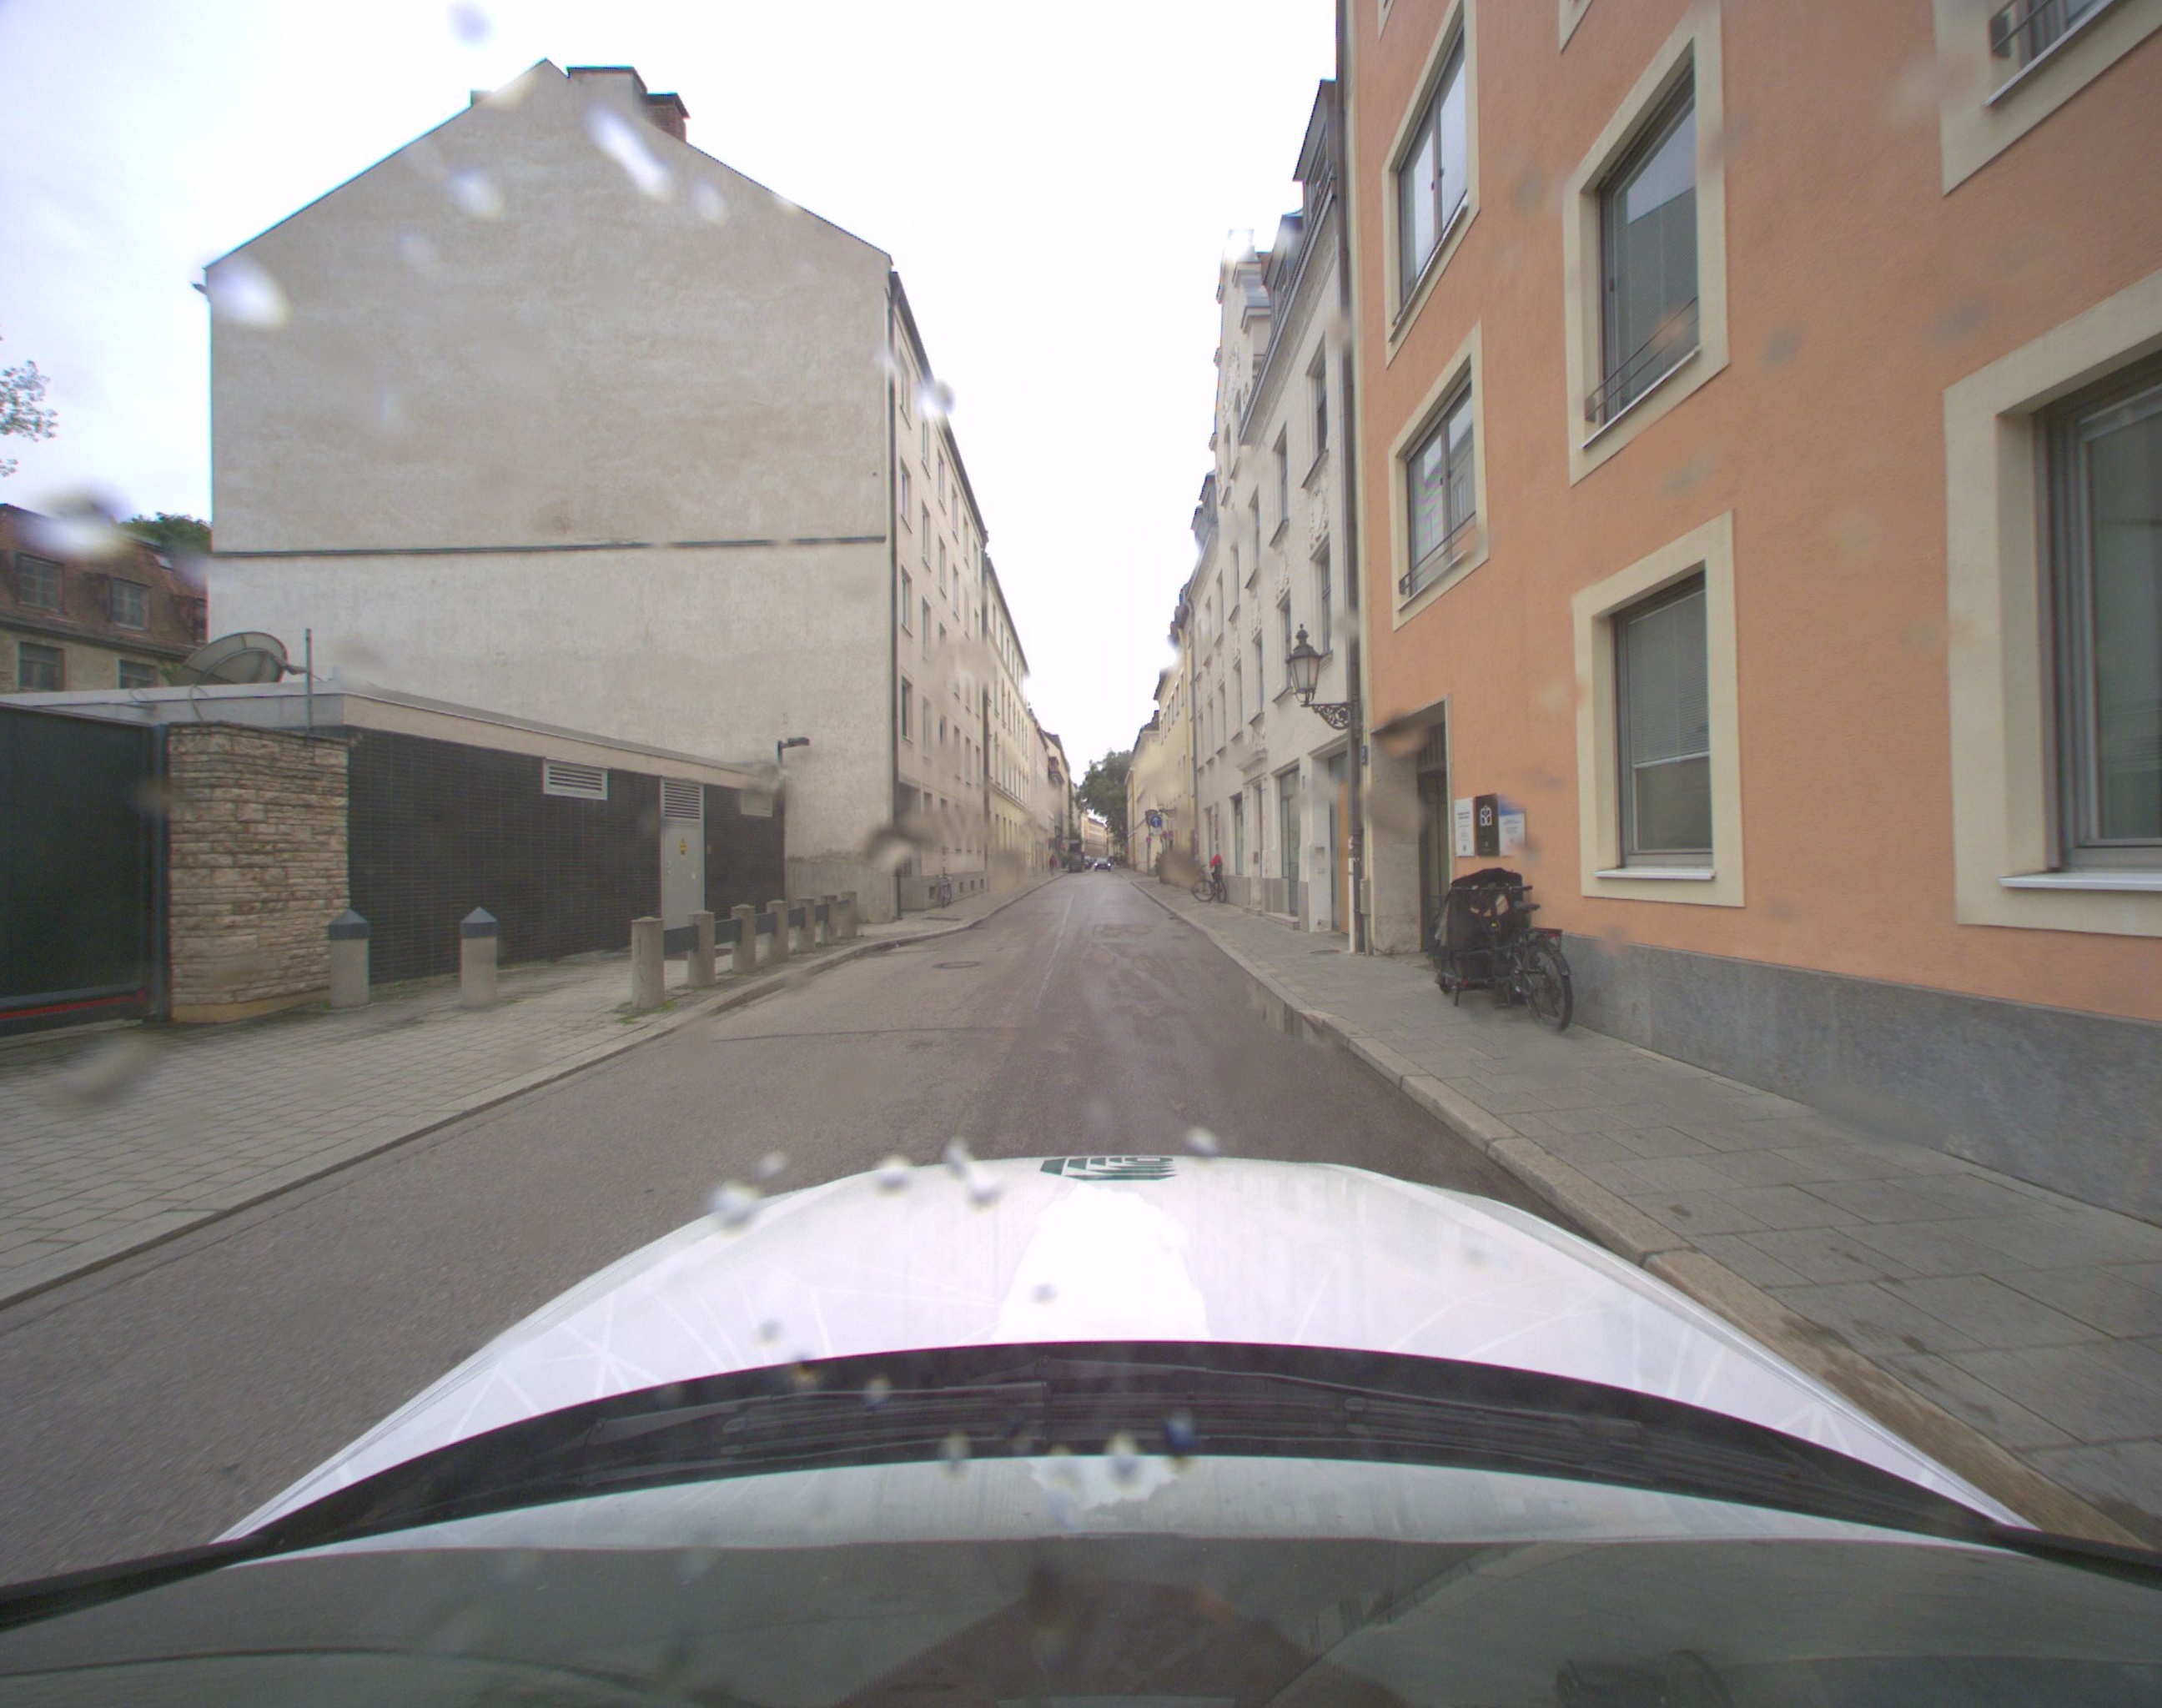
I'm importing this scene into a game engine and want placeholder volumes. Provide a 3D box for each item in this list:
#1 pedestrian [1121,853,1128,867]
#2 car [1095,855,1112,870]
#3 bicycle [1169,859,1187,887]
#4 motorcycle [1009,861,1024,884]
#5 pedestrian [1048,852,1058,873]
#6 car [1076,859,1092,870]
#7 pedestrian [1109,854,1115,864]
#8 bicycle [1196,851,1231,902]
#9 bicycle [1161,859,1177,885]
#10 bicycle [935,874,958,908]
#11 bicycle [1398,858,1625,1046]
[{"bbox_3d":[5.431,0.760,102.613,0.877,1.802,1.046,0,-1,2],"label":"pedestrian"},{"bbox_3d":[2.450,0.969,90.697,1.806,1.594,3.999,-1,0,0],"label":"car"},{"bbox_3d":[4.153,0.806,34.980,0.563,1.137,1.988,-3,0,2],"label":"bicycle"},{"bbox_3d":[-3.399,0.988,43.130,0.600,1.174,1.709,-1,0,2],"label":"motorcycle"},{"bbox_3d":[-2.334,0.737,68.154,0.763,1.708,0.785,-2,-1,-1],"label":"pedestrian"},{"bbox_3d":[0.403,1.334,106.542,1.771,1.466,3.666,0,0,4],"label":"car"},{"bbox_3d":[5.549,0.848,147.103,1.012,1.802,1.349,0,0,2],"label":"pedestrian"},{"bbox_3d":[3.872,0.640,23.895,0.710,1.396,2.124,-4,0,4],"label":"bicycle"},{"bbox_3d":[3.997,0.820,37.202,0.563,1.137,1.685,-3,0,2],"label":"bicycle"},{"bbox_3d":[-4.107,1.110,24.902,0.318,0.944,1.575,2,0,3],"label":"bicycle"},{"bbox_3d":[3.506,0.703,6.950,0.676,1.240,2.384,-6,0,3],"label":"bicycle"}]
